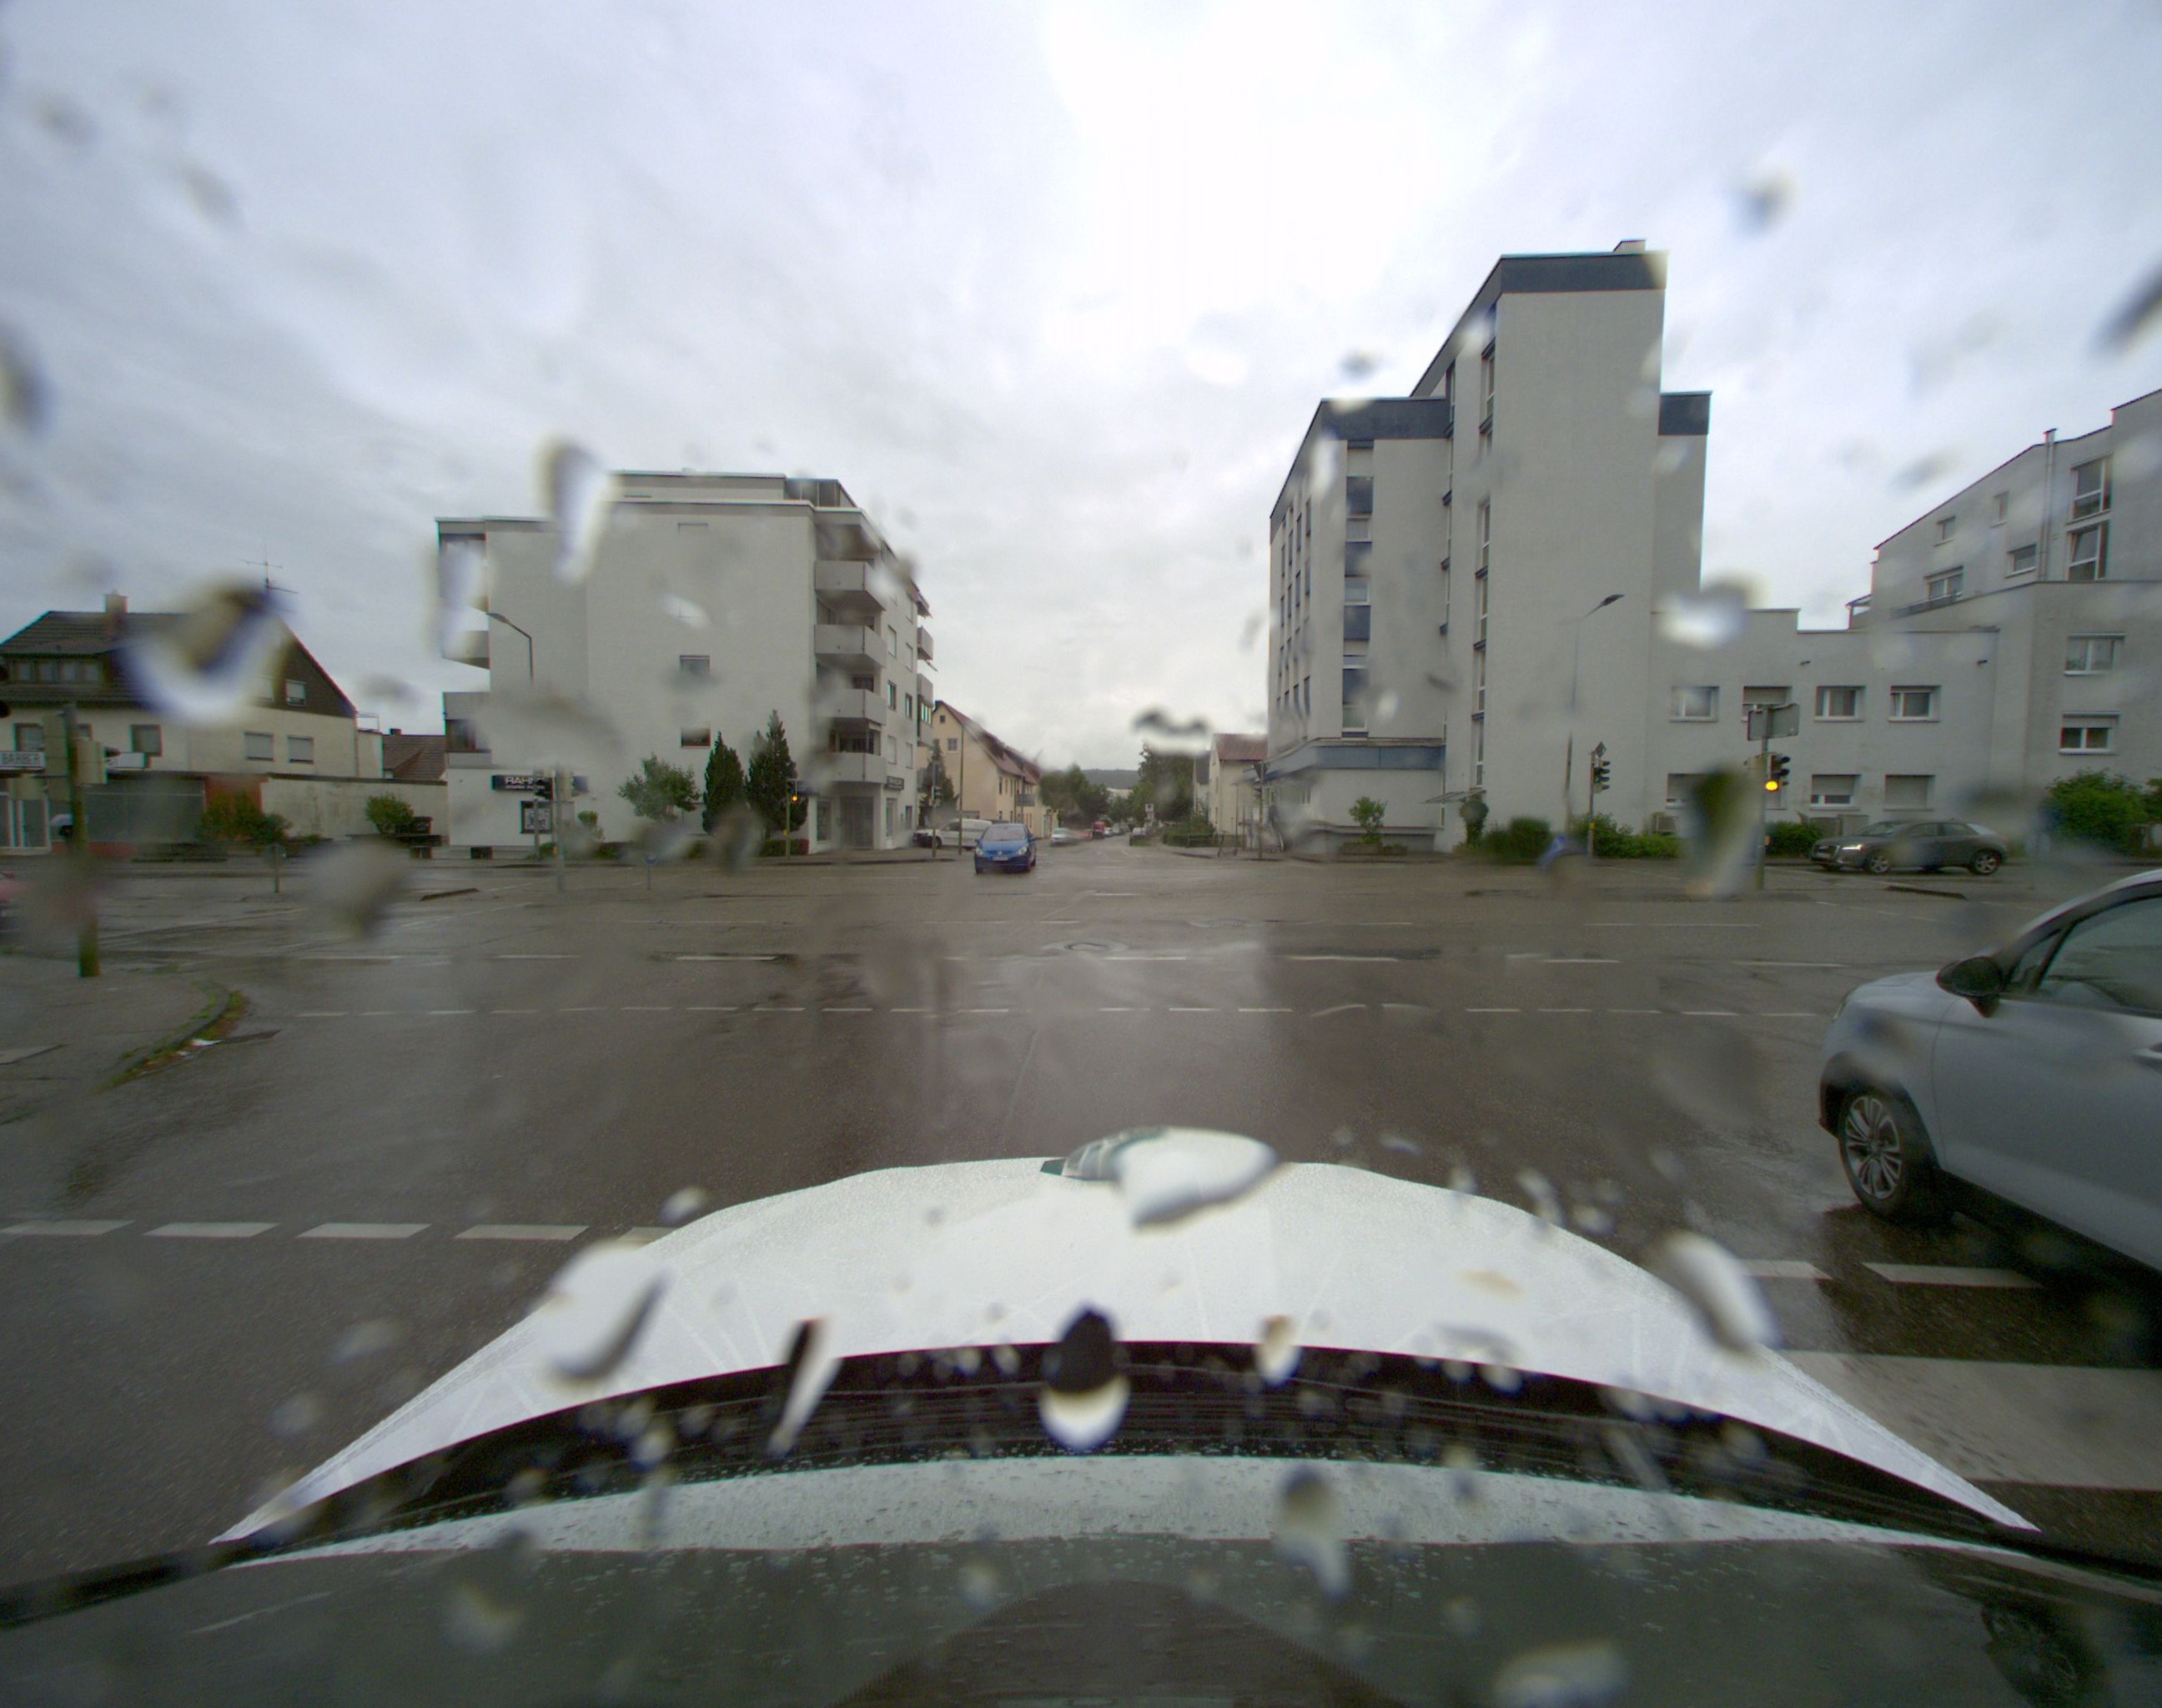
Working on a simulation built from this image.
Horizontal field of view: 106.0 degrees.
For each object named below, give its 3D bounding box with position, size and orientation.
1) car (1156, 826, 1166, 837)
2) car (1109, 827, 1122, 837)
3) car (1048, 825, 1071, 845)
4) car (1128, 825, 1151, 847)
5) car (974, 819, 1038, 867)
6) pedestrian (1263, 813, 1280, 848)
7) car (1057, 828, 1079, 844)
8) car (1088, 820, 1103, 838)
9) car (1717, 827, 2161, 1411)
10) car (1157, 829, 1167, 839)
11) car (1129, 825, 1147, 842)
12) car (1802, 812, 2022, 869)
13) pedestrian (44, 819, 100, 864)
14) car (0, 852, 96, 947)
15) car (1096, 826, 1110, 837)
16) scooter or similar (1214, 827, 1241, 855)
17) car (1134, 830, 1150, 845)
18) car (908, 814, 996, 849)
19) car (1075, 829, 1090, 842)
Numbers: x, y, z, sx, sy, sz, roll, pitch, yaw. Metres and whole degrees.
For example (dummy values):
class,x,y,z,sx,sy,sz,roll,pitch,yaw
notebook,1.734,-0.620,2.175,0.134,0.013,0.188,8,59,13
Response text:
class,x,y,z,sx,sy,sz,roll,pitch,yaw
car,15.807,-4.425,160.910,1.983,2.013,4.009,-1,1,7
car,6.451,-4.104,153.561,1.982,1.706,4.009,-1,-1,9
car,-1.731,-1.549,67.108,1.761,1.523,4.000,-1,1,0
car,5.781,-1.788,80.393,1.983,2.014,4.008,-1,-1,7
car,-2.396,-0.311,26.793,1.762,1.445,3.998,0,-1,-1
pedestrian,9.026,-1.098,38.604,0.652,1.652,0.646,0,-1,2
car,-1.218,-1.716,78.463,1.760,1.518,4.197,-1,1,2
car,2.337,-3.838,126.533,2.208,2.768,5.728,-1,1,2
car,3.807,0.702,2.360,1.676,1.554,3.923,-1,1,14
car,16.933,-4.134,169.529,1.983,2.013,4.009,-1,1,7
car,7.241,-2.583,102.488,1.983,2.013,4.009,-1,1,7
car,23.389,-0.402,23.088,4.110,1.485,1.748,-1,3,10
pedestrian,-35.944,-0.454,29.025,0.986,1.568,0.755,-1,1,1
car,-20.533,0.809,14.367,4.074,1.505,1.783,0,5,2
car,3.734,-3.741,137.810,1.983,1.684,4.007,-1,-1,7
scooter or similar,6.759,-0.595,37.560,1.058,1.227,0.799,0,-1,-8
car,8.820,-2.392,117.628,1.983,2.013,4.009,-1,1,7
car,-7.410,-1.229,46.966,4.750,1.778,1.753,2,-1,-37
car,0.146,-2.349,103.583,1.762,1.518,3.999,-1,1,-1
